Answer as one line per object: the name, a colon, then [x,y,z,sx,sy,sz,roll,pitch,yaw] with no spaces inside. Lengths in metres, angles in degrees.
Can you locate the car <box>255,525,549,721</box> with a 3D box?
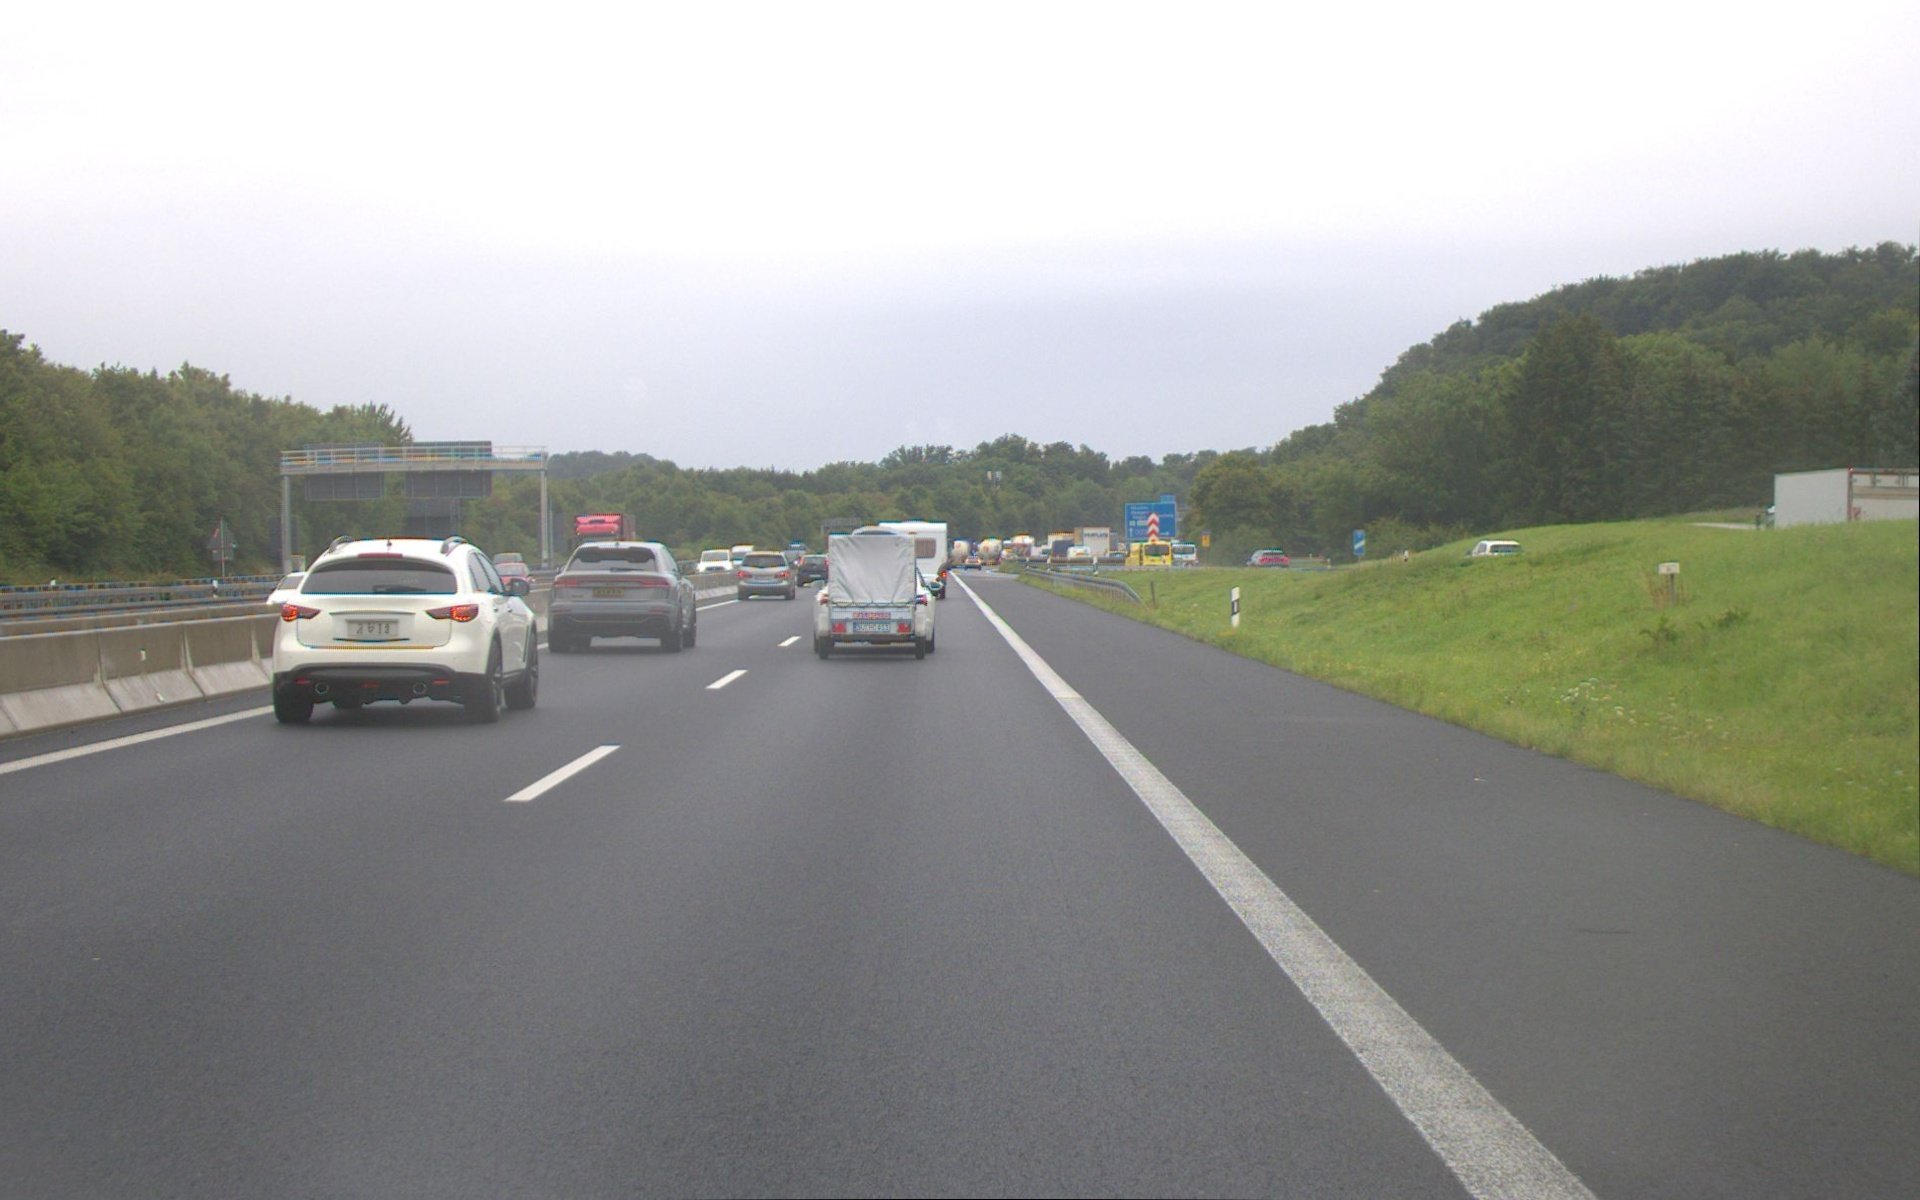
car: [-5.051,0.158,31.740,2.048,1.665,4.541,0,1,-1]

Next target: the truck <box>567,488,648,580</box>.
truck: [-18.670,-3.489,182.618,3.400,4.717,10.486,0,1,-1]

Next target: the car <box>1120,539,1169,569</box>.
car: [9.747,-2.421,182.033,1.993,1.547,4.001,1,1,-5]

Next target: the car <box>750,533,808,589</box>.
car: [-5.947,-1.284,113.055,1.738,1.787,4.000,0,1,-1]

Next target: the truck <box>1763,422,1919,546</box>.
truck: [28.375,-3.576,108.095,3.824,3.646,8.273,1,1,-4]

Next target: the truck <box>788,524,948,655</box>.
truck: [-1.372,-0.199,51.803,2.242,1.833,6.585,0,1,-1]

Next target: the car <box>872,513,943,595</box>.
car: [-1.781,-1.554,116.890,2.331,2.716,6.540,0,1,-1]

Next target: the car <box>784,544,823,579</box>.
car: [-7.223,-1.784,158.989,1.645,1.568,4.000,1,1,0]

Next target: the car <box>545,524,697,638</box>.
car: [-5.286,-0.322,54.142,1.975,1.697,4.802,1,1,-1]

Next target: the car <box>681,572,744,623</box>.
car: [-8.305,-0.103,115.639,1.819,1.656,4.017,0,1,0]

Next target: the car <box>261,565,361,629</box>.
car: [-17.634,-0.100,93.603,1.993,1.656,4.314,-1,1,-1]

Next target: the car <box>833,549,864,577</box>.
car: [-6.477,-2.142,200.187,1.645,1.568,4.000,1,1,0]

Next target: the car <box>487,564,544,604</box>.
car: [-17.599,-0.652,136.307,1.724,1.547,4.583,1,1,-1]
